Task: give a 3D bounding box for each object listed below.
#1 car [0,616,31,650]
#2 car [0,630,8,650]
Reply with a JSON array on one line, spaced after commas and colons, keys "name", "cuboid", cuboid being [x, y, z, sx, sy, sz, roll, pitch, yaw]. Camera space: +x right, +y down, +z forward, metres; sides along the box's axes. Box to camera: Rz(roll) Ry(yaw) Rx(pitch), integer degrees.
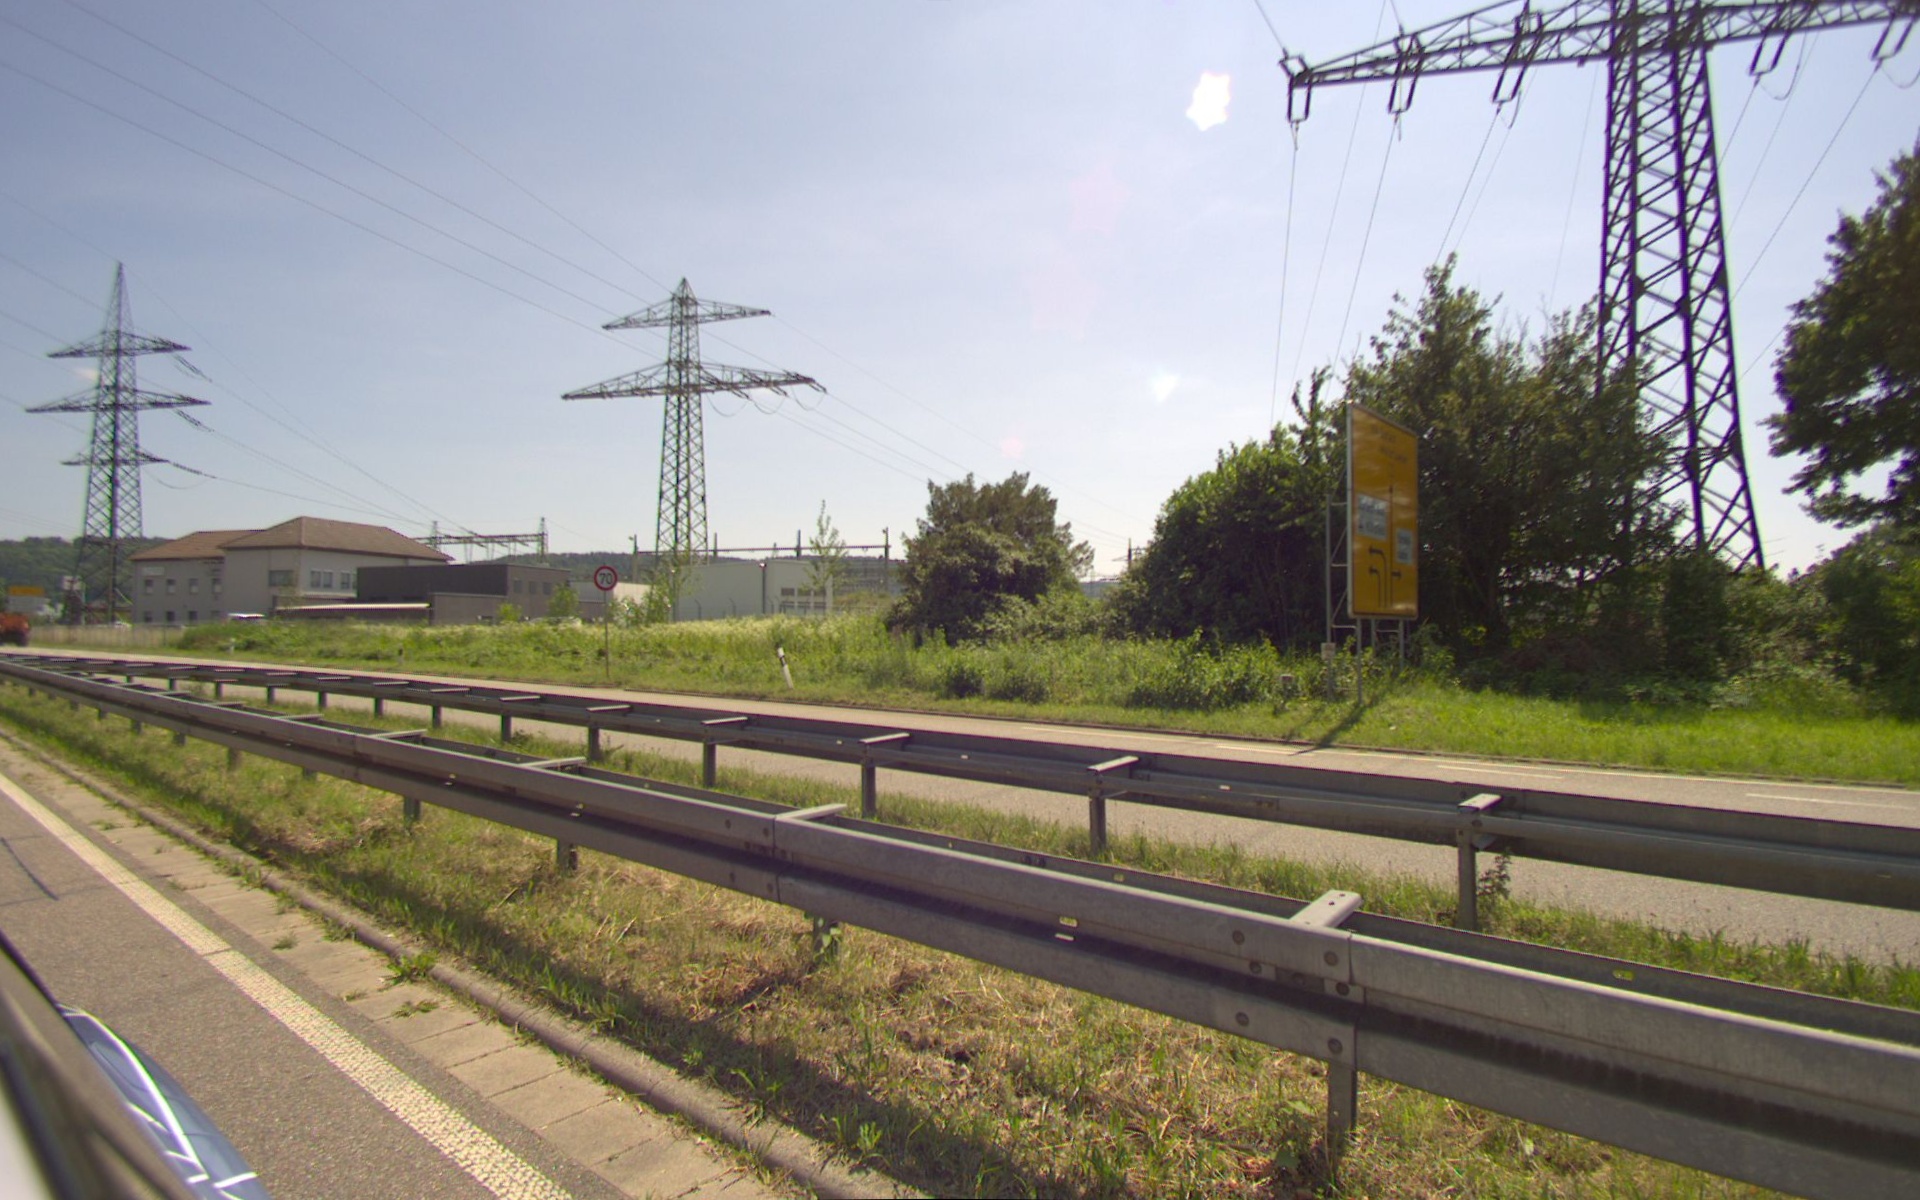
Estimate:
[{"name": "car", "cuboid": [-87.875, 3.069, 93.268, 5.634, 3.084, 2.574, -2, -3, 40]}, {"name": "car", "cuboid": [-95.380, 3.928, 99.441, 3.993, 1.929, 1.975, 0, 0, 37]}]
